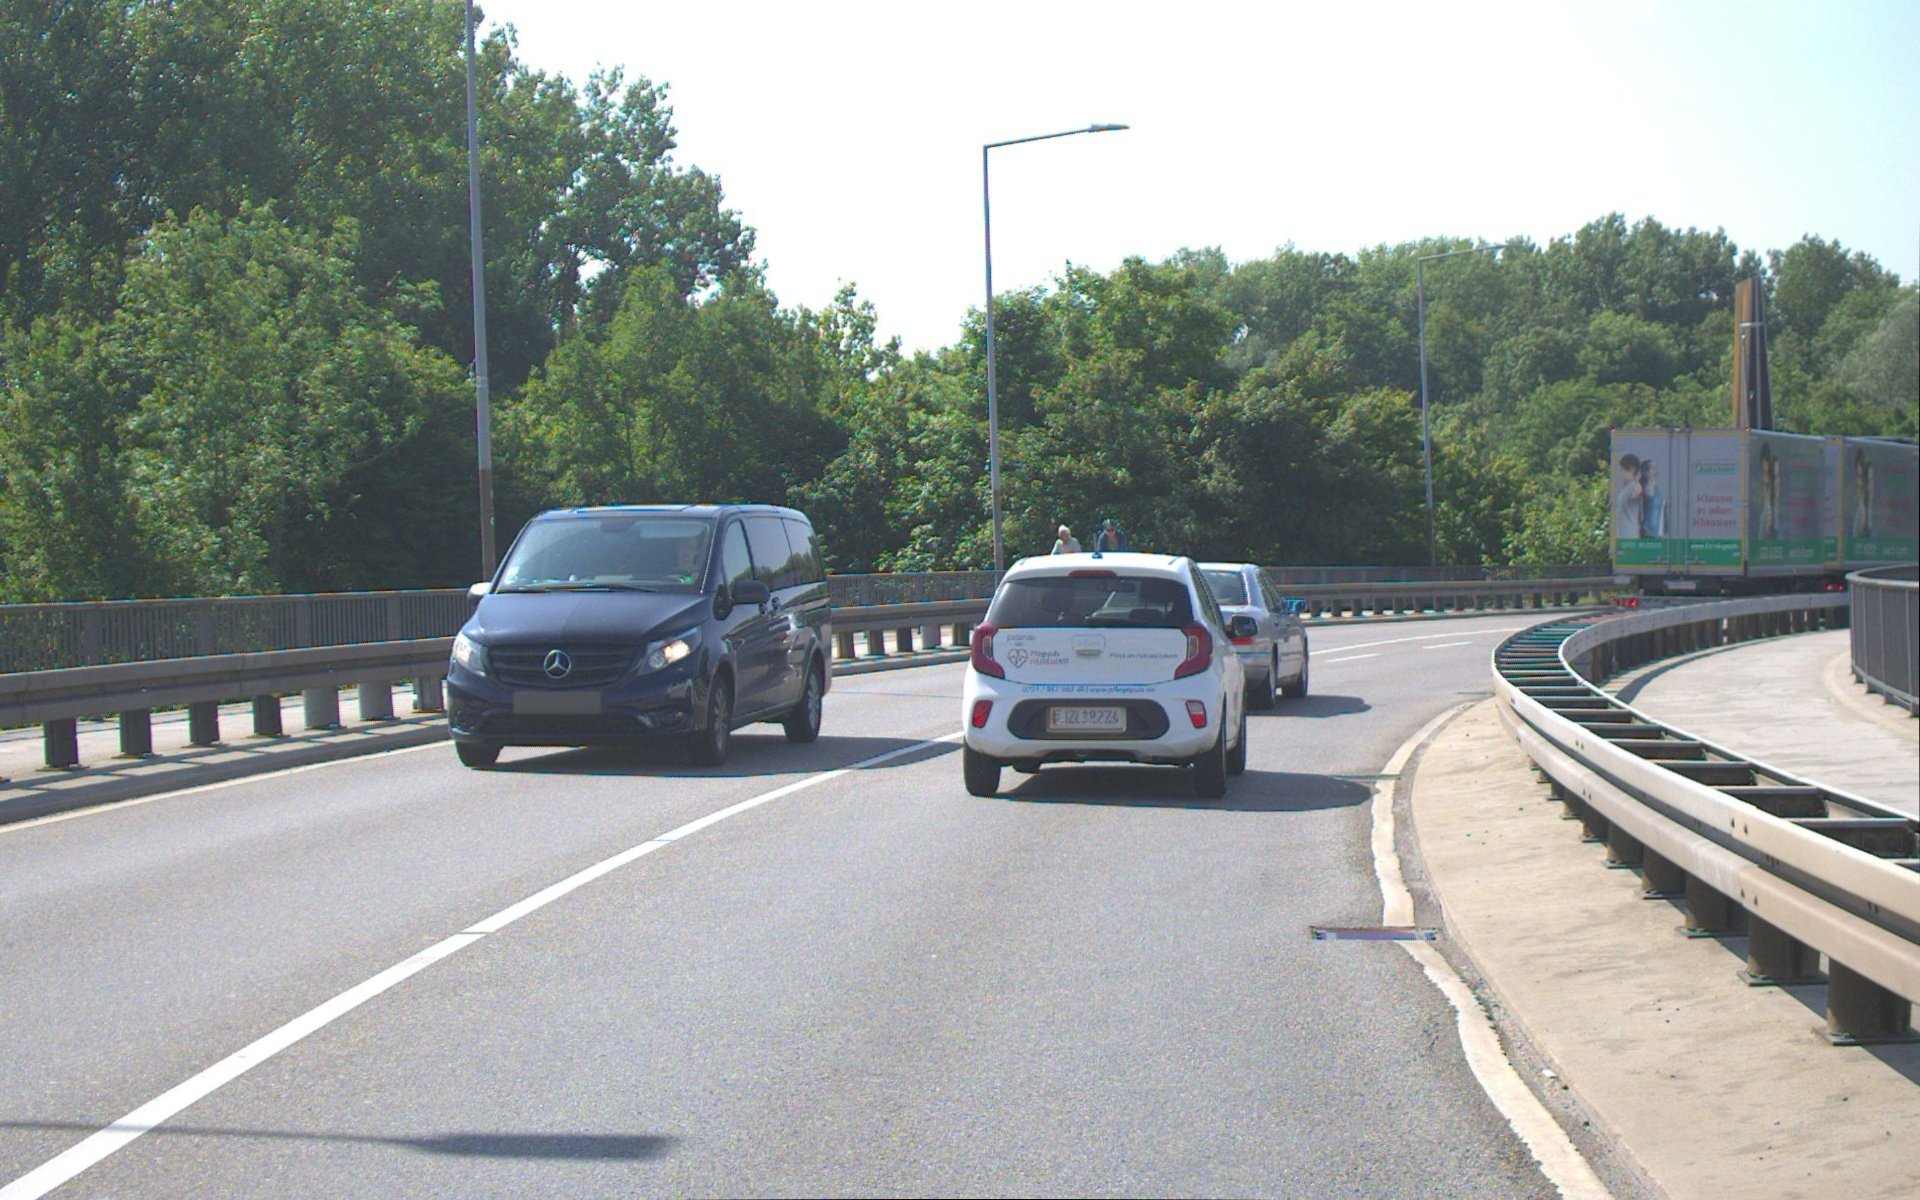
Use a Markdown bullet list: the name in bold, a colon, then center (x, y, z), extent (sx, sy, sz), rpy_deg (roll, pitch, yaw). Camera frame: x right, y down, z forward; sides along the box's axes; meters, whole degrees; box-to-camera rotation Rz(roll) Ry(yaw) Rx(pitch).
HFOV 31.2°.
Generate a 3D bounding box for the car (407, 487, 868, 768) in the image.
- **car**: center (-2.264, 0.159, 26.110), extent (2.076, 1.882, 5.913), rpy_deg (0, 1, 9)

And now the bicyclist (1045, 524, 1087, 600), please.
- **bicyclist**: center (1.860, -0.658, 60.357), extent (0.488, 1.324, 0.946), rpy_deg (1, 0, 17)

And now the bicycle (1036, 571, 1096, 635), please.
- **bicycle**: center (1.874, 0.043, 60.464), extent (0.574, 1.043, 1.708), rpy_deg (-2, 1, 17)

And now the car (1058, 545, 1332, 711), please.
- **car**: center (2.417, 0.213, 34.114), extent (1.940, 1.481, 4.897), rpy_deg (1, 1, 13)

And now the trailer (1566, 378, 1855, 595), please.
- **trailer**: center (14.179, -2.125, 64.450), extent (3.229, 3.745, 7.813), rpy_deg (3, 3, 27)

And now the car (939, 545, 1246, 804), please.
- **car**: center (0.947, 0.428, 22.339), extent (1.702, 1.489, 3.999), rpy_deg (1, 0, 6)

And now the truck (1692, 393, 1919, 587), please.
- **truck**: center (18.172, -2.304, 72.182), extent (3.265, 3.745, 8.358), rpy_deg (3, 3, 27)

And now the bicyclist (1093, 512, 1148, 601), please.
- **bicyclist**: center (2.769, -0.760, 59.278), extent (0.661, 1.491, 1.015), rpy_deg (1, 3, 20)
